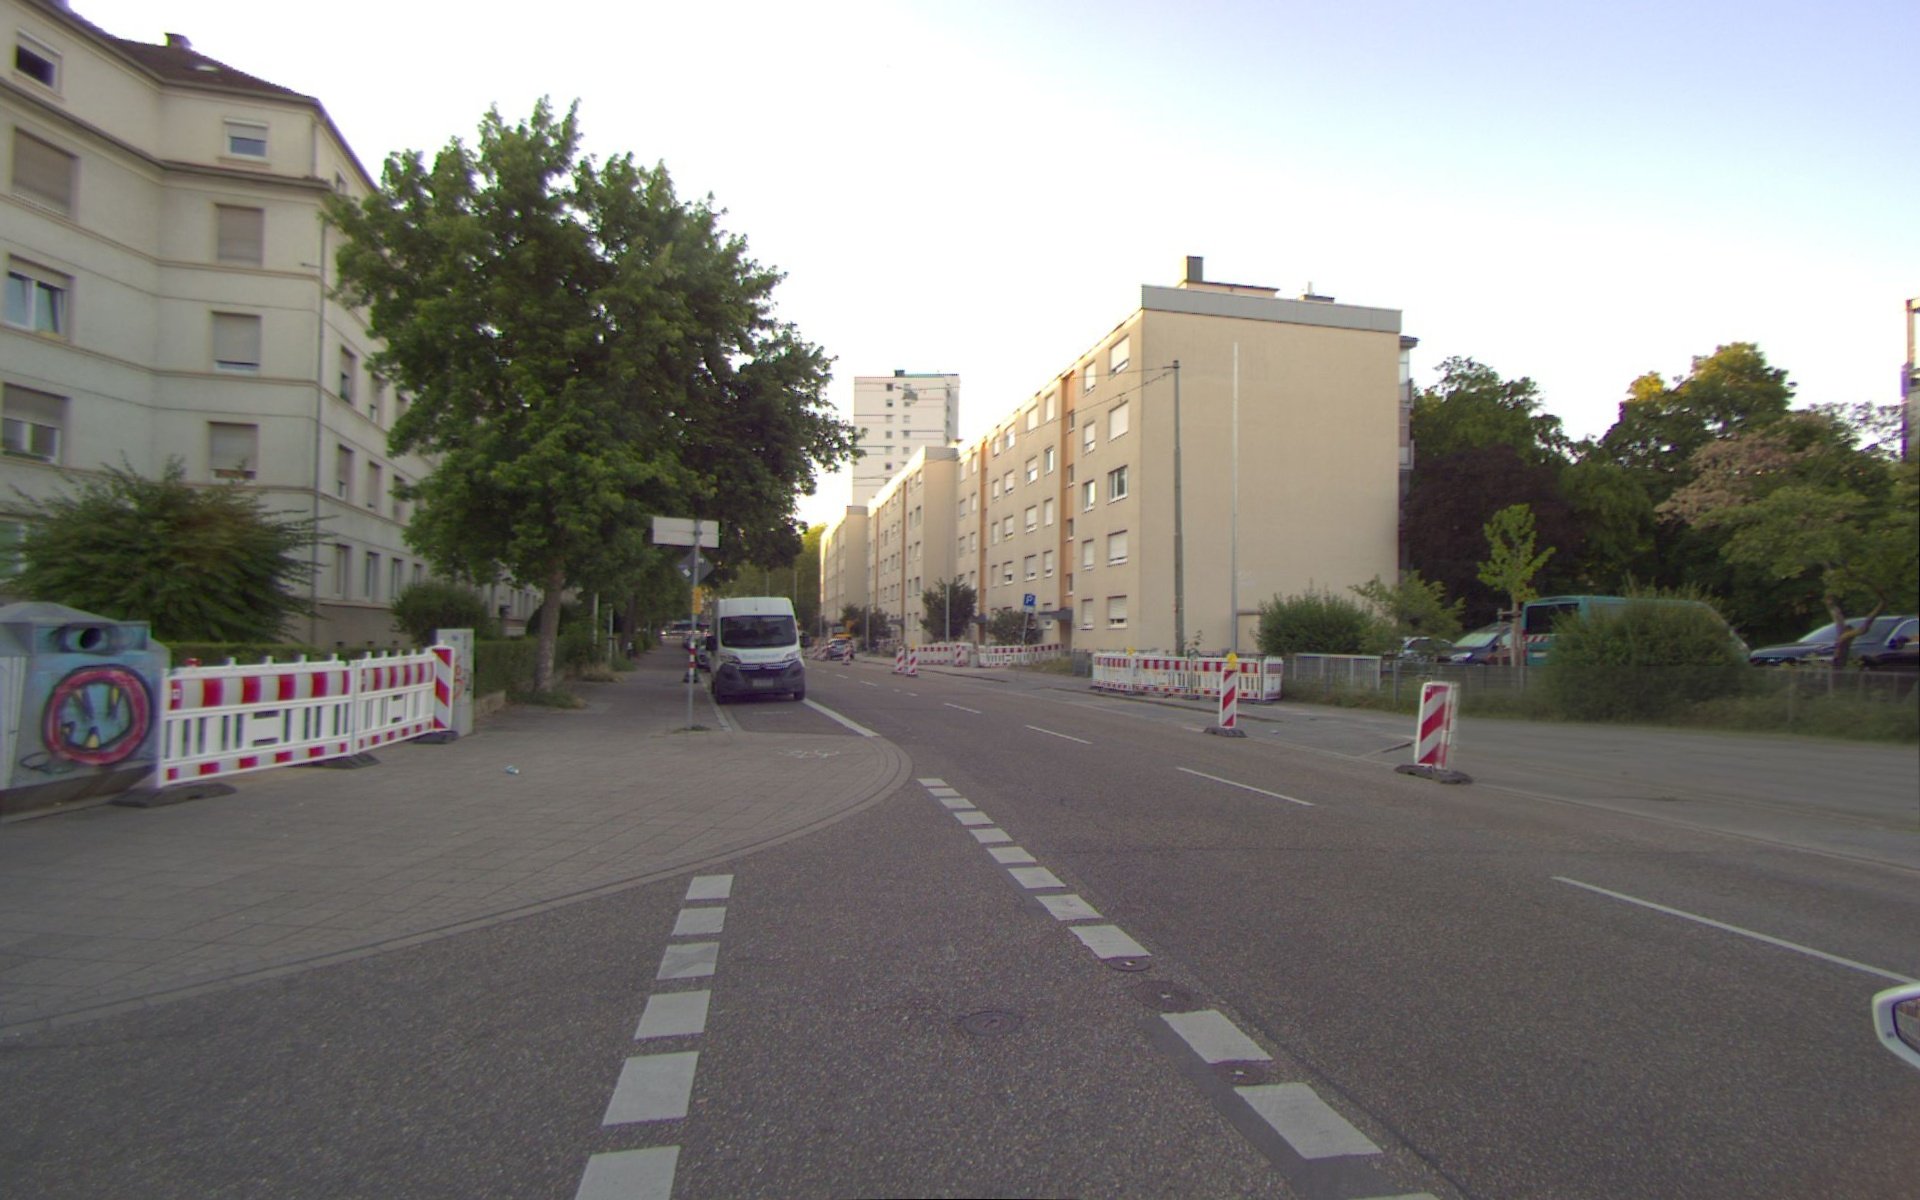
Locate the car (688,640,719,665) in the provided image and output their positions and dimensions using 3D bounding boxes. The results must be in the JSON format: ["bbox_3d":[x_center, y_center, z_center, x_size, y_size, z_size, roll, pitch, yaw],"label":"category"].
[{"bbox_3d":[-16.059,3.238,62.742,1.754,1.442,3.735,-2,-2,-16],"label":"car"}]

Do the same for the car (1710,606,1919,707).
[{"bbox_3d":[16.735,1.053,18.905,4.228,1.750,1.995,1,-2,-14],"label":"car"}]

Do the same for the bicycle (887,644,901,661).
[{"bbox_3d":[-4.739,3.756,72.025,0.608,1.121,2.229,1,-2,-14],"label":"bicycle"}]

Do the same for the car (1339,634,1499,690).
[{"bbox_3d":[14.164,1.907,31.083,4.153,1.668,1.996,1,-2,-13],"label":"car"}]

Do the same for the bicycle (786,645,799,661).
[{"bbox_3d":[-12.430,3.917,74.361,0.632,1.129,3.046,1,-2,-15],"label":"bicycle"}]

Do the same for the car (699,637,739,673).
[{"bbox_3d":[-11.727,2.638,48.764,1.733,1.625,3.916,-1,-2,-16],"label":"car"}]

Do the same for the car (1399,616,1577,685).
[{"bbox_3d":[14.884,1.436,28.408,4.153,1.850,1.996,1,-2,-13],"label":"car"}]

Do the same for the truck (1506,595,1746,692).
[{"bbox_3d":[15.550,1.034,23.580,4.430,2.118,2.110,1,-2,-9],"label":"truck"}]

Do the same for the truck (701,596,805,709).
[{"bbox_3d":[-5.283,1.241,24.966,2.074,2.455,6.026,0,-2,-16],"label":"truck"}]

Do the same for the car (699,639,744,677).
[{"bbox_3d":[-10.342,2.465,43.453,1.733,1.503,3.916,-1,-2,-16],"label":"car"}]

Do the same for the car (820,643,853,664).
[{"bbox_3d":[-8.896,3.817,72.249,1.756,1.408,3.988,1,-2,-16],"label":"car"}]

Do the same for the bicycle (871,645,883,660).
[{"bbox_3d":[-6.445,4.062,78.183,0.608,1.121,2.229,1,-2,-14],"label":"bicycle"}]

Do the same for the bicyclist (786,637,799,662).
[{"bbox_3d":[-12.404,3.690,74.330,0.781,1.823,1.014,1,-2,-16],"label":"bicyclist"}]

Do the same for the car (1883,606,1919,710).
[{"bbox_3d":[17.912,0.976,16.666,3.932,1.714,1.995,1,-2,-14],"label":"car"}]
